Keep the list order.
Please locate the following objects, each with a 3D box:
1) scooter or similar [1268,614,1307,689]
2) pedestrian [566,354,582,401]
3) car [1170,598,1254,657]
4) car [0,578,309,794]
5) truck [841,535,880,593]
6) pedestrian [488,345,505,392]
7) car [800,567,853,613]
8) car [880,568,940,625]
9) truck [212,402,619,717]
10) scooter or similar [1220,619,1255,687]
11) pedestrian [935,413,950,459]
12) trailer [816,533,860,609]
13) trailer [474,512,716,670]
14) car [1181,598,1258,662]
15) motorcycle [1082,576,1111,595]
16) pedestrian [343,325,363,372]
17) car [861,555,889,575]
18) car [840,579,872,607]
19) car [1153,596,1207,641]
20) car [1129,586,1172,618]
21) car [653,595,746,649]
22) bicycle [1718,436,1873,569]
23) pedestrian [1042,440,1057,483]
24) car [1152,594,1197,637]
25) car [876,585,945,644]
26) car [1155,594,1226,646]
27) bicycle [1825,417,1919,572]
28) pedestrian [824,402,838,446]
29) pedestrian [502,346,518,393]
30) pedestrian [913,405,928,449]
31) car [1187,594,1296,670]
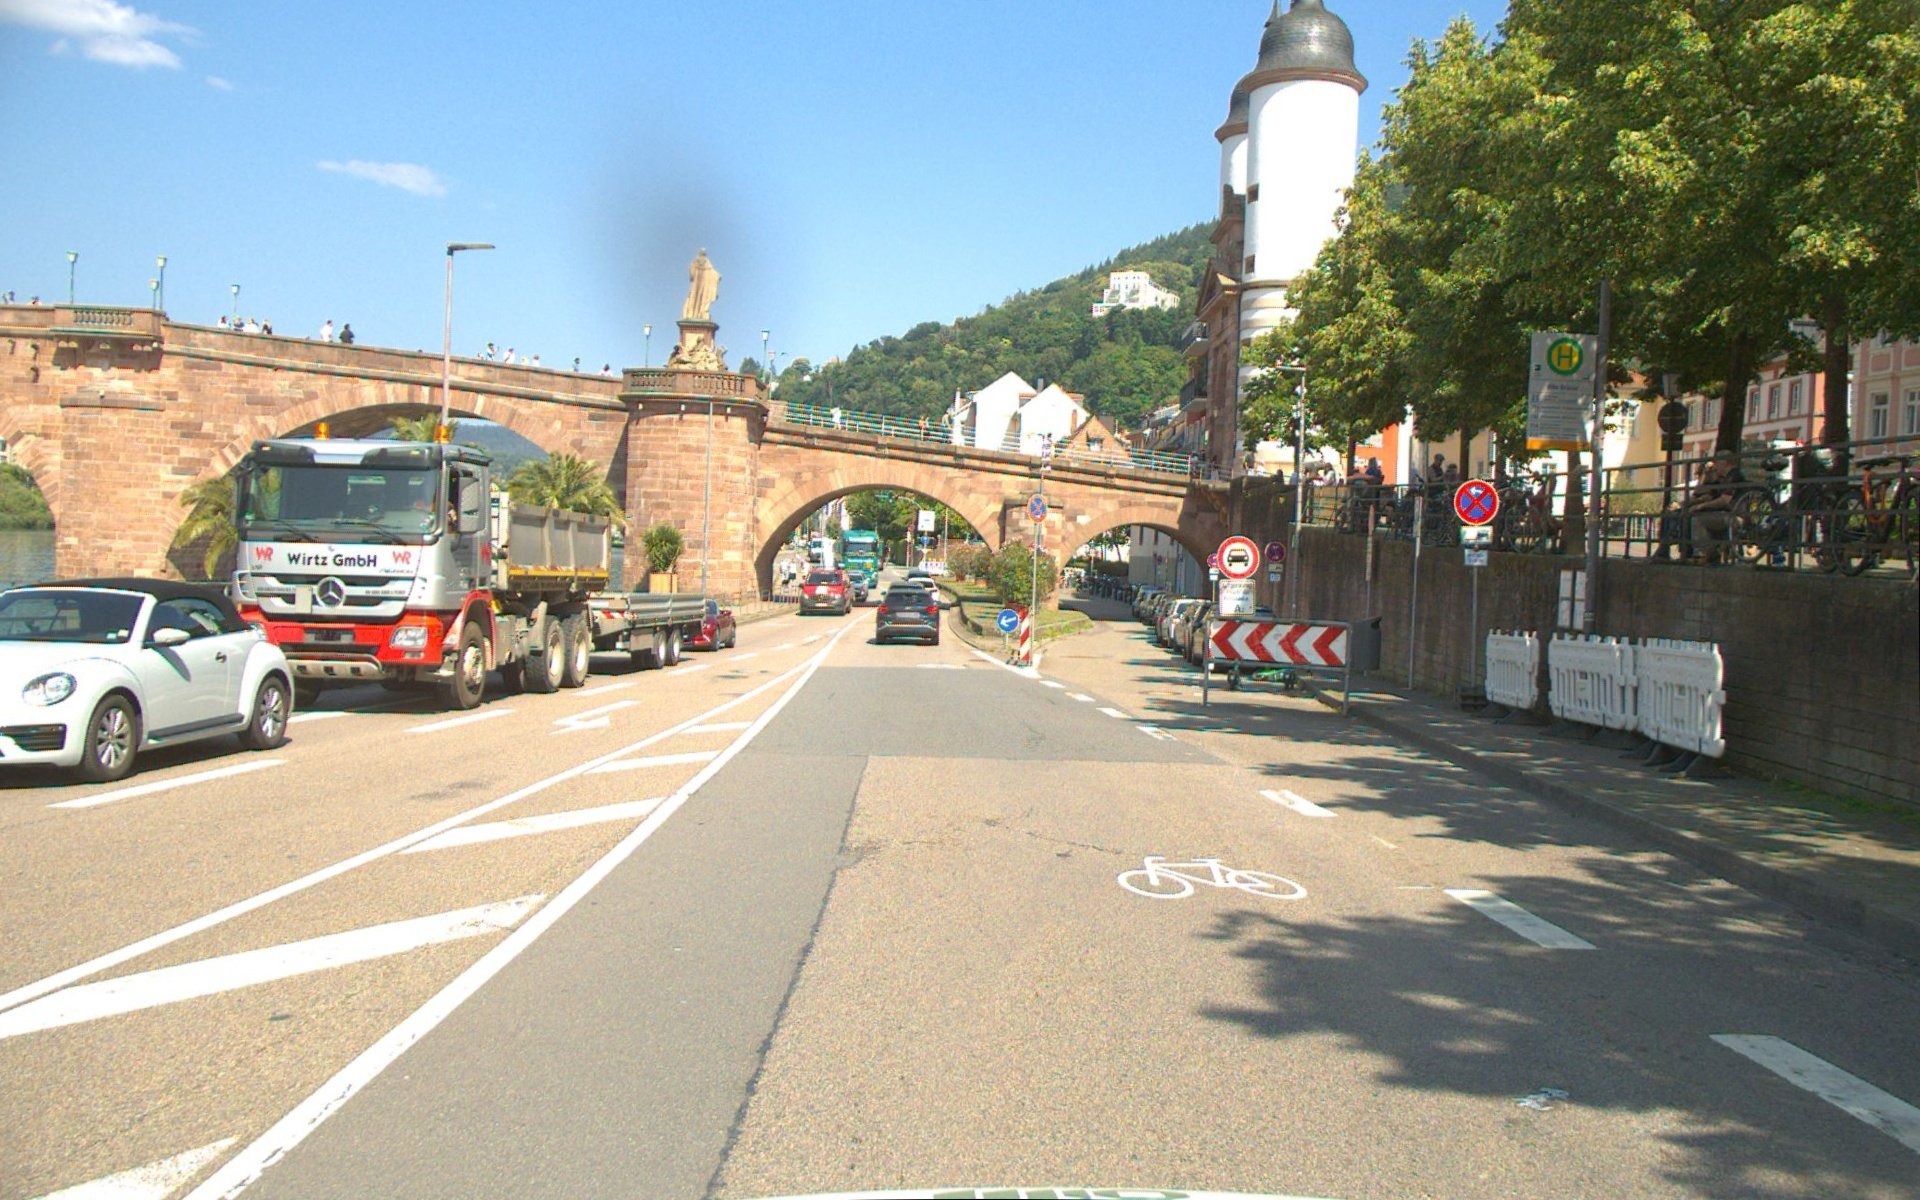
[{"bbox_3d":[5.693,0.878,28.709,0.520,1.252,1.272,1,0,16],"label":"scooter or similar"},{"bbox_3d":[-17.830,-10.281,76.408,0.612,2.049,0.694,1,0,-7],"label":"pedestrian"},{"bbox_3d":[6.927,0.724,45.944,1.717,1.457,4.757,2,0,2],"label":"car"},{"bbox_3d":[-7.018,0.572,13.366,1.740,1.469,3.999,1,0,3],"label":"car"},{"bbox_3d":[-6.715,-2.517,112.661,2.473,3.813,6.245,0,2,-2],"label":"truck"},{"bbox_3d":[-21.436,-10.682,76.462,0.612,2.049,0.694,1,0,-7],"label":"pedestrian"},{"bbox_3d":[-5.594,-0.435,69.781,1.836,1.859,4.544,0,1,0],"label":"car"},{"bbox_3d":[-1.870,-0.160,63.111,1.952,2.049,4.001,1,1,2],"label":"car"},{"bbox_3d":[-6.917,-0.470,22.459,2.587,3.517,7.874,0,0,3],"label":"truck"},{"bbox_3d":[4.747,0.890,28.238,0.520,1.108,1.440,1,0,12],"label":"scooter or similar"},{"bbox_3d":[-0.804,-7.556,76.353,0.611,2.049,0.695,1,0,0],"label":"pedestrian"},{"bbox_3d":[-5.527,-1.320,75.249,1.706,3.378,3.384,0,1,1],"label":"trailer"},{"bbox_3d":[-6.518,-0.155,30.664,2.641,2.575,6.949,0,0,3],"label":"trailer"},{"bbox_3d":[6.433,0.704,41.232,1.578,1.438,3.906,2,0,5],"label":"car"},{"bbox_3d":[9.472,-1.027,114.697,2.176,1.289,0.620,0,2,-39],"label":"motorcycle"},{"bbox_3d":[-27.771,-11.499,75.683,0.679,2.049,0.625,1,0,-4],"label":"pedestrian"},{"bbox_3d":[-7.427,-3.030,143.980,1.823,1.691,3.987,0,1,-13],"label":"car"},{"bbox_3d":[-5.636,-0.418,90.114,1.503,1.461,3.728,0,1,0],"label":"car"},{"bbox_3d":[7.334,0.591,55.089,1.674,1.412,4.411,1,0,8],"label":"car"},{"bbox_3d":[9.855,0.081,85.916,1.853,1.518,4.418,1,1,2],"label":"car"},{"bbox_3d":[-6.212,0.499,39.795,1.637,1.215,3.629,0,0,0],"label":"car"},{"bbox_3d":[7.526,-0.847,14.974,0.402,1.125,1.733,1,1,-4],"label":"bicycle"},{"bbox_3d":[4.388,-6.803,81.411,0.670,2.049,0.586,1,0,0],"label":"pedestrian"},{"bbox_3d":[8.397,0.571,64.584,1.557,1.547,3.906,2,1,9],"label":"car"},{"bbox_3d":[-1.354,0.366,46.722,1.819,1.550,4.000,1,1,0],"label":"car"},{"bbox_3d":[7.076,0.594,51.073,1.675,1.483,3.548,2,0,1],"label":"car"},{"bbox_3d":[7.358,-0.791,13.003,0.401,1.125,1.736,1,1,8],"label":"bicycle"},{"bbox_3d":[-6.170,-8.413,79.153,0.569,2.049,0.586,1,0,0],"label":"pedestrian"},{"bbox_3d":[-20.847,-10.671,76.638,0.612,2.049,0.694,1,0,-7],"label":"pedestrian"},{"bbox_3d":[-1.886,-8.315,79.366,0.670,2.049,0.586,1,0,0],"label":"pedestrian"},{"bbox_3d":[6.095,0.646,36.246,1.804,1.475,4.536,2,0,3],"label":"car"}]
